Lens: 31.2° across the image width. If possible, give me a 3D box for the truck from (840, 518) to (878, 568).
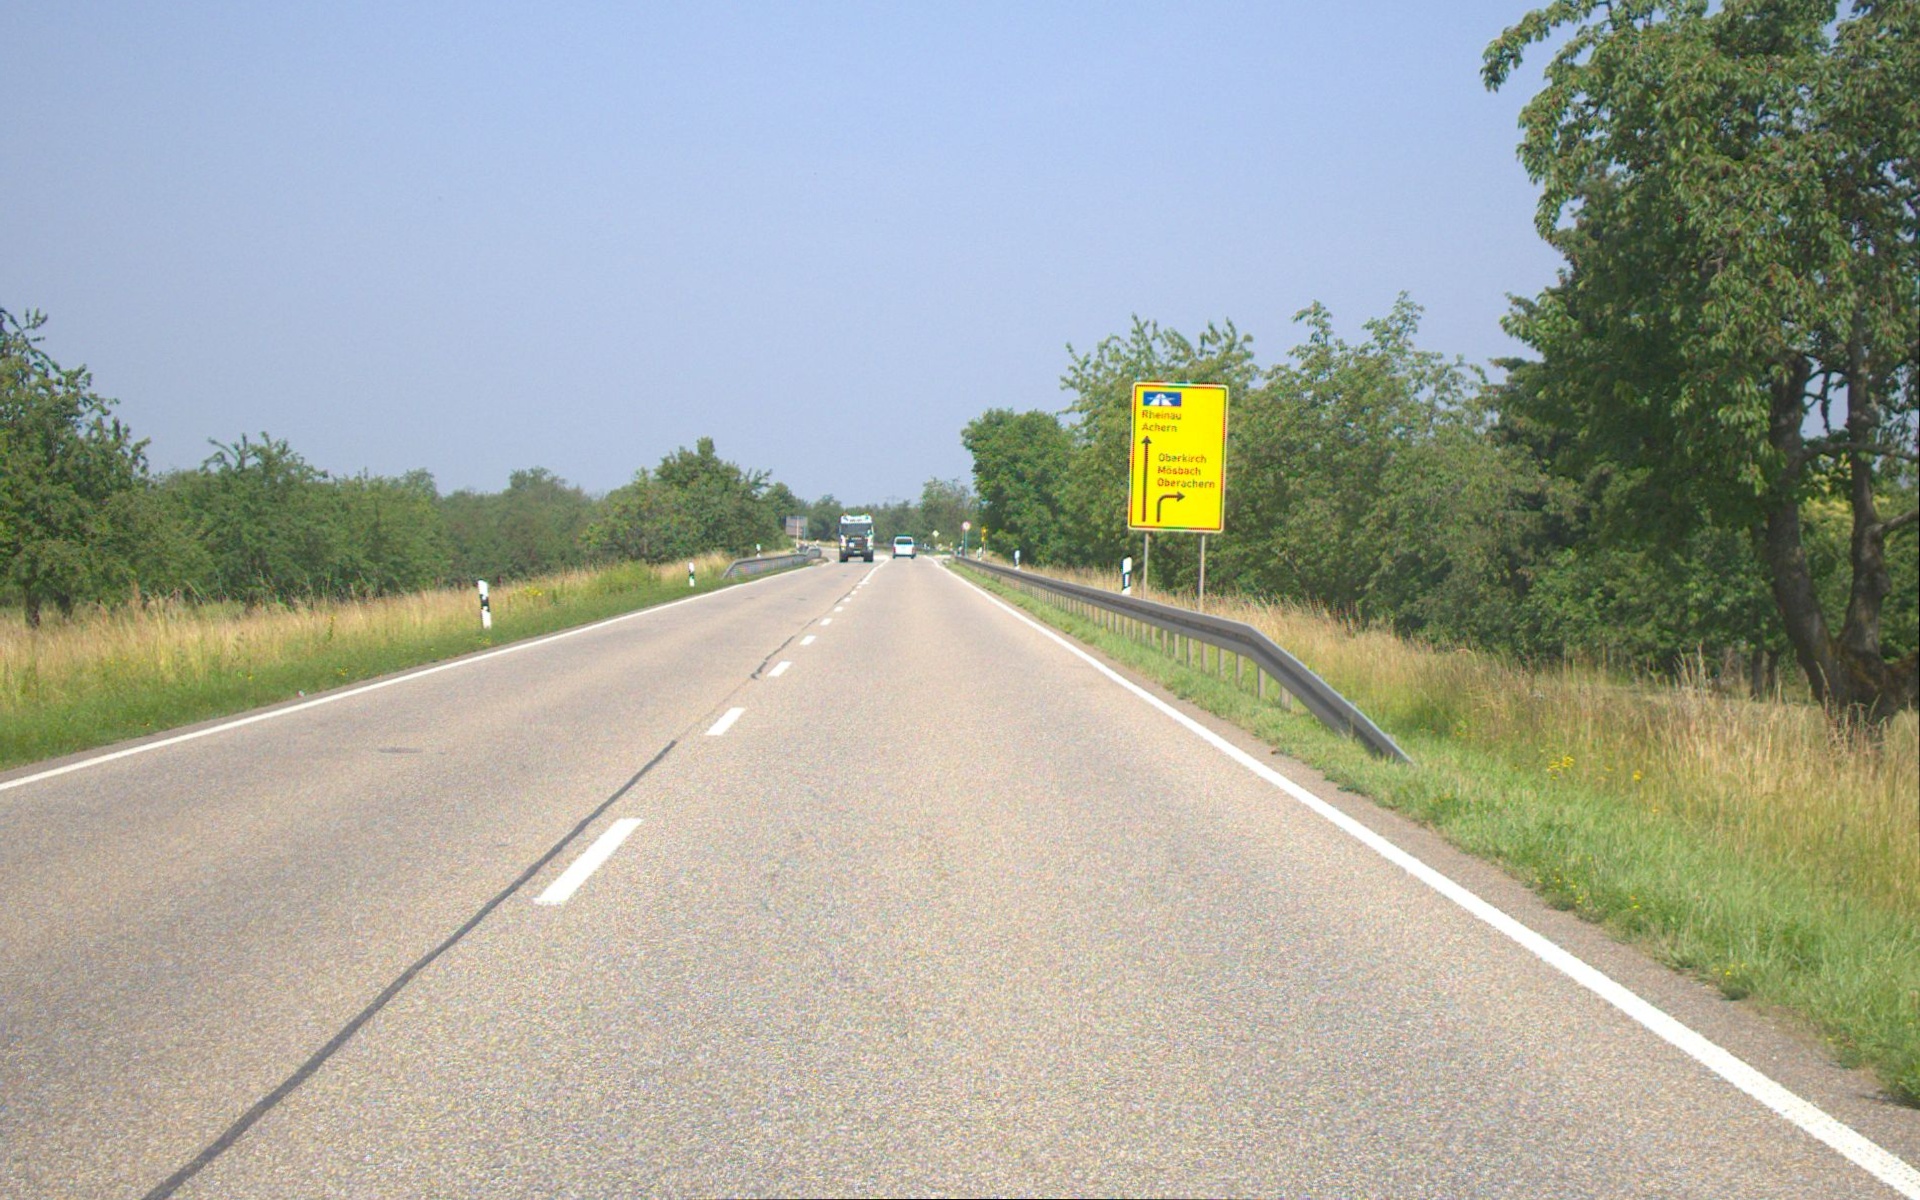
[{"bbox_3d":[-7.624,-4.282,259.685,2.728,3.659,9.384,1,1,-1],"label":"truck"}]
